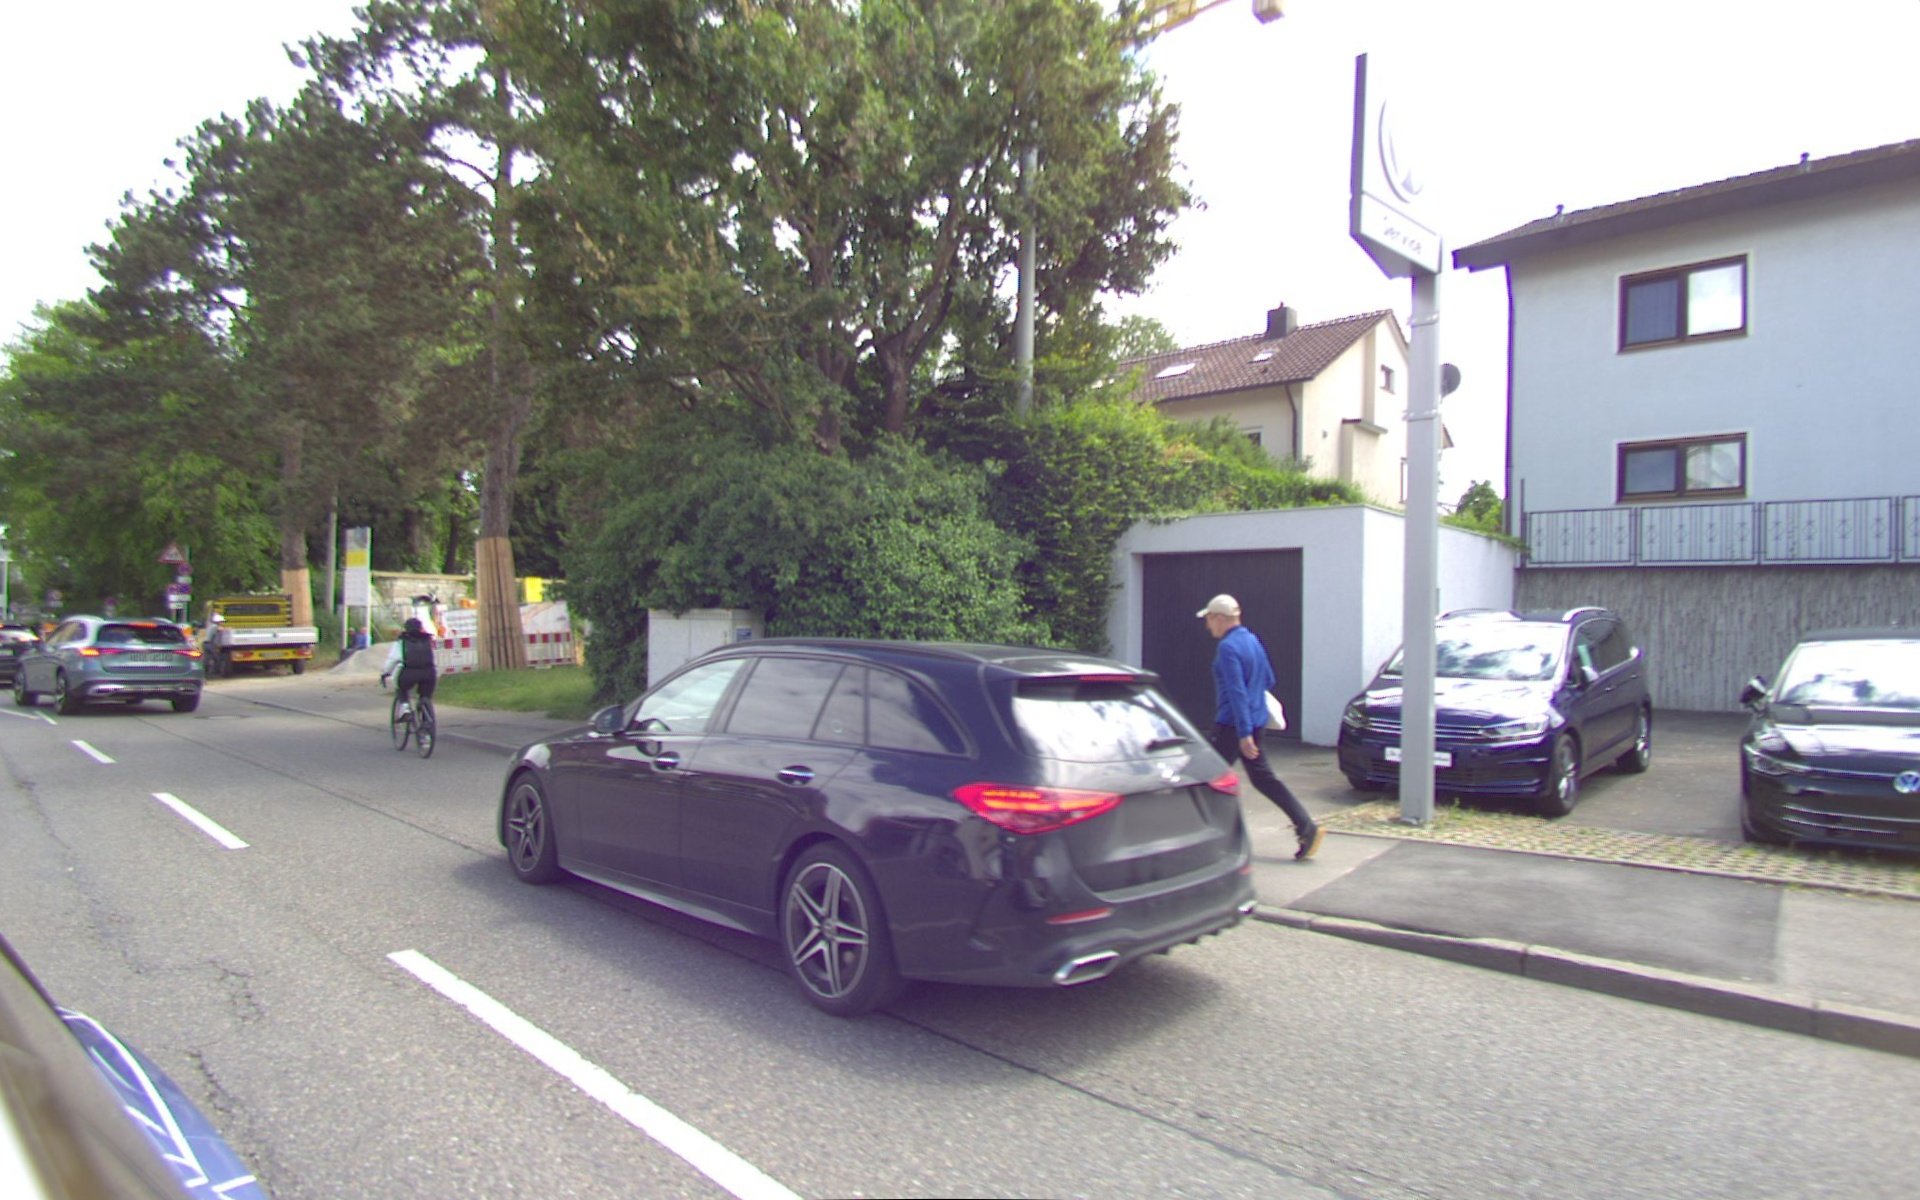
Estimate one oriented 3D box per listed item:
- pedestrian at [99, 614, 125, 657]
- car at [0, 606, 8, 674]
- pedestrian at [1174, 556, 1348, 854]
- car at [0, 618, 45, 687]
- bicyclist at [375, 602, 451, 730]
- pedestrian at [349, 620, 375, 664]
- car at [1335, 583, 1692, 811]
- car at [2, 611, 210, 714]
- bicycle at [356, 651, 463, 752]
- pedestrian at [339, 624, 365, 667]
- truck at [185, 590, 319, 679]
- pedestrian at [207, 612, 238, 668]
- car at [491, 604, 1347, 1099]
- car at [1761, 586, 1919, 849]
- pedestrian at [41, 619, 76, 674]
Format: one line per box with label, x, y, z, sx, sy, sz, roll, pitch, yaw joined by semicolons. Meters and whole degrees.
pedestrian;-37.065;1.534;44.227;0.823;1.861;1.023;0;0;-44
car;-30.148;1.180;30.366;4.912;1.967;1.888;-2;-2;42
pedestrian;1.929;0.617;6.496;0.868;1.750;0.675;0;0;43
car;-23.052;1.187;23.767;4.527;1.539;1.845;-1;-2;42
bicyclist;-6.501;0.767;12.026;0.864;1.460;0.464;-1;-3;40
pedestrian;-19.461;1.366;32.930;0.566;1.396;0.540;0;0;-10
car;5.373;0.704;9.545;1.904;1.653;4.242;-2;-1;44
car;-15.329;1.063;18.096;4.527;1.630;1.848;-2;-3;37
bicycle;-6.594;1.174;12.085;1.868;1.095;0.449;-1;-3;41
pedestrian;-20.146;1.511;33.531;0.566;1.396;0.540;0;0;-10
truck;-21.449;0.926;30.538;6.096;2.438;2.280;0;0;45
pedestrian;-21.041;1.135;28.876;0.654;1.559;0.568;0;0;38
car;-0.601;0.791;5.169;4.525;1.440;1.721;-1;-3;44
car;6.915;0.713;7.175;1.728;1.530;3.700;-1;-2;41
pedestrian;-26.888;1.382;30.185;0.563;1.613;0.537;0;0;-2
